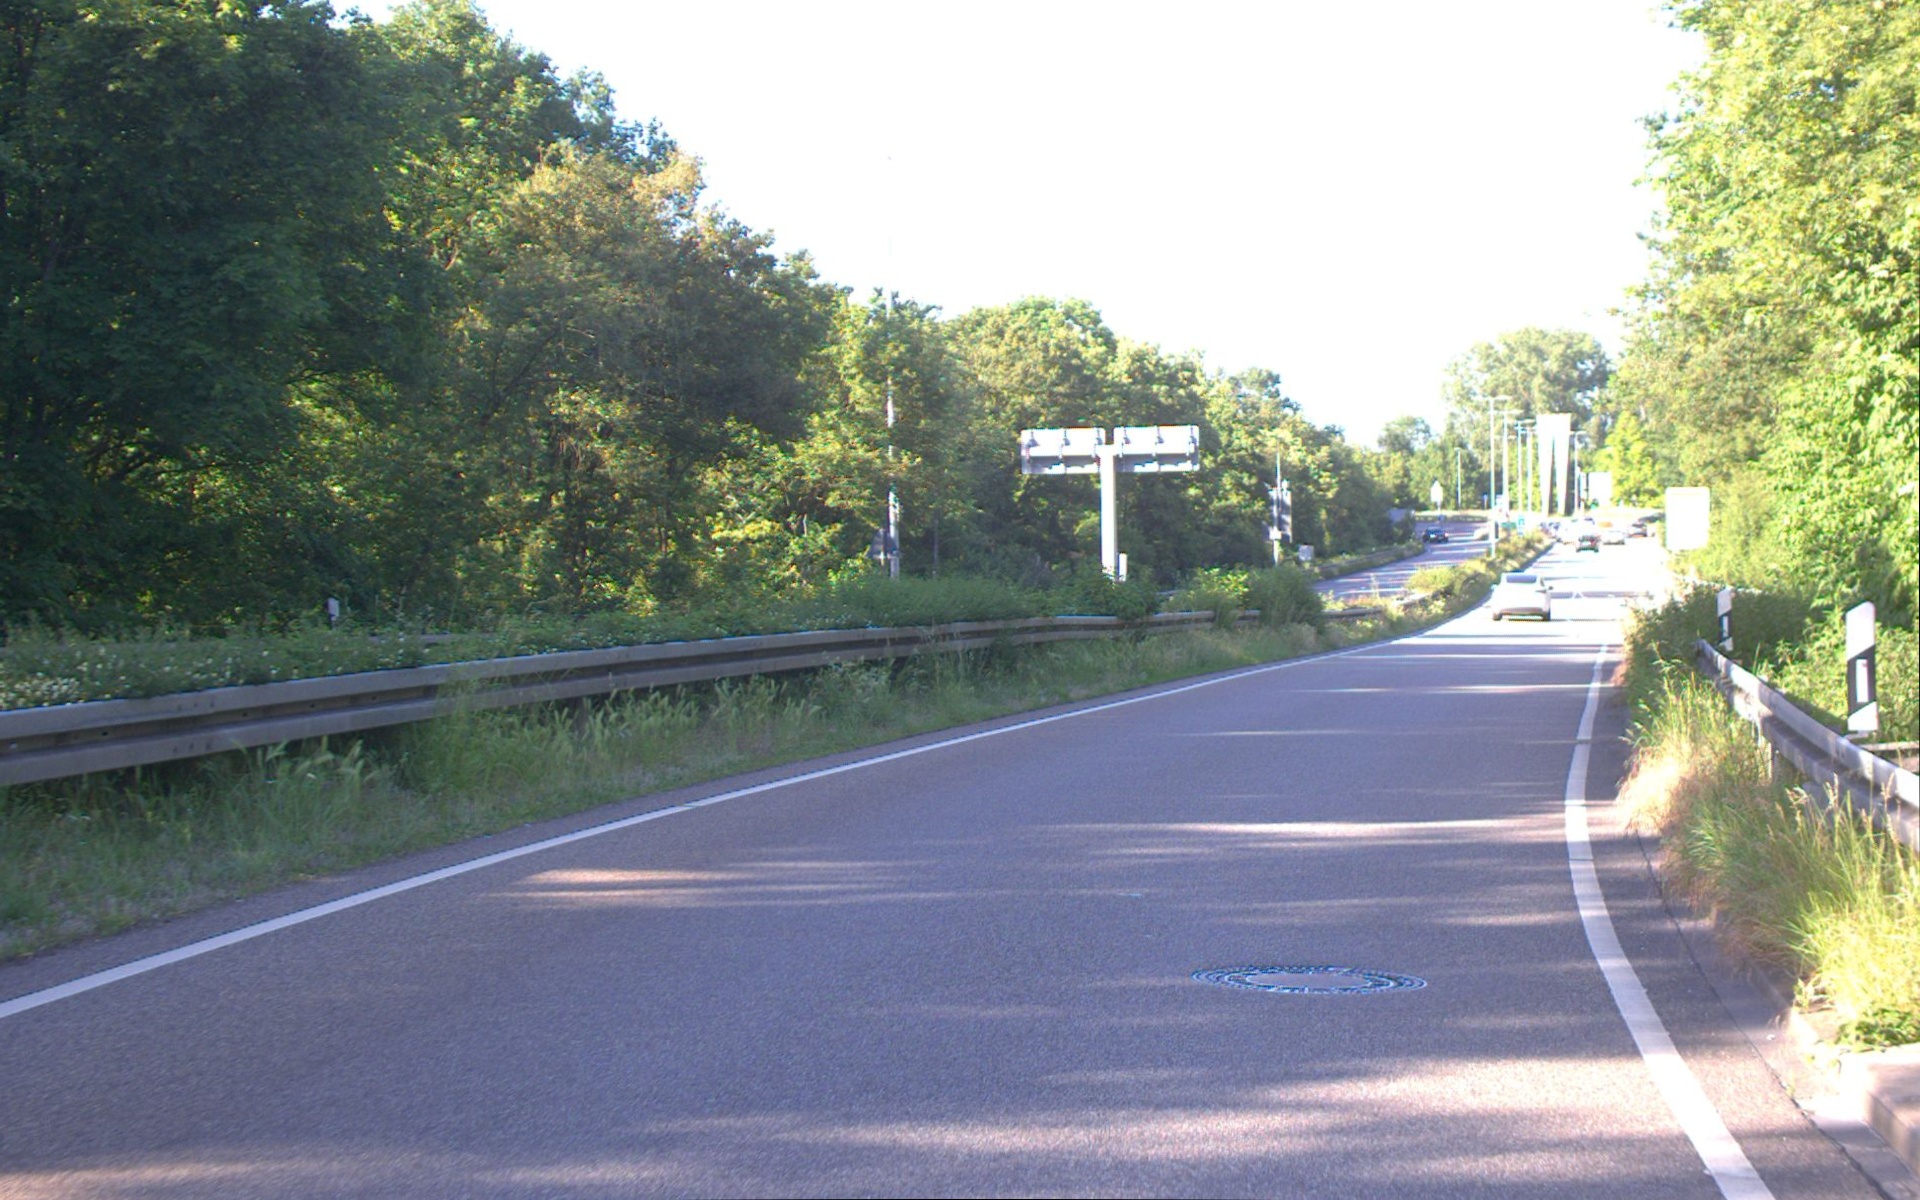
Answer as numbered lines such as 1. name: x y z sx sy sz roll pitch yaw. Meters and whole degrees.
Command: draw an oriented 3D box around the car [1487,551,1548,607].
1. car: 18.874 -0.712 116.546 1.885 1.809 3.999 2 1 8
